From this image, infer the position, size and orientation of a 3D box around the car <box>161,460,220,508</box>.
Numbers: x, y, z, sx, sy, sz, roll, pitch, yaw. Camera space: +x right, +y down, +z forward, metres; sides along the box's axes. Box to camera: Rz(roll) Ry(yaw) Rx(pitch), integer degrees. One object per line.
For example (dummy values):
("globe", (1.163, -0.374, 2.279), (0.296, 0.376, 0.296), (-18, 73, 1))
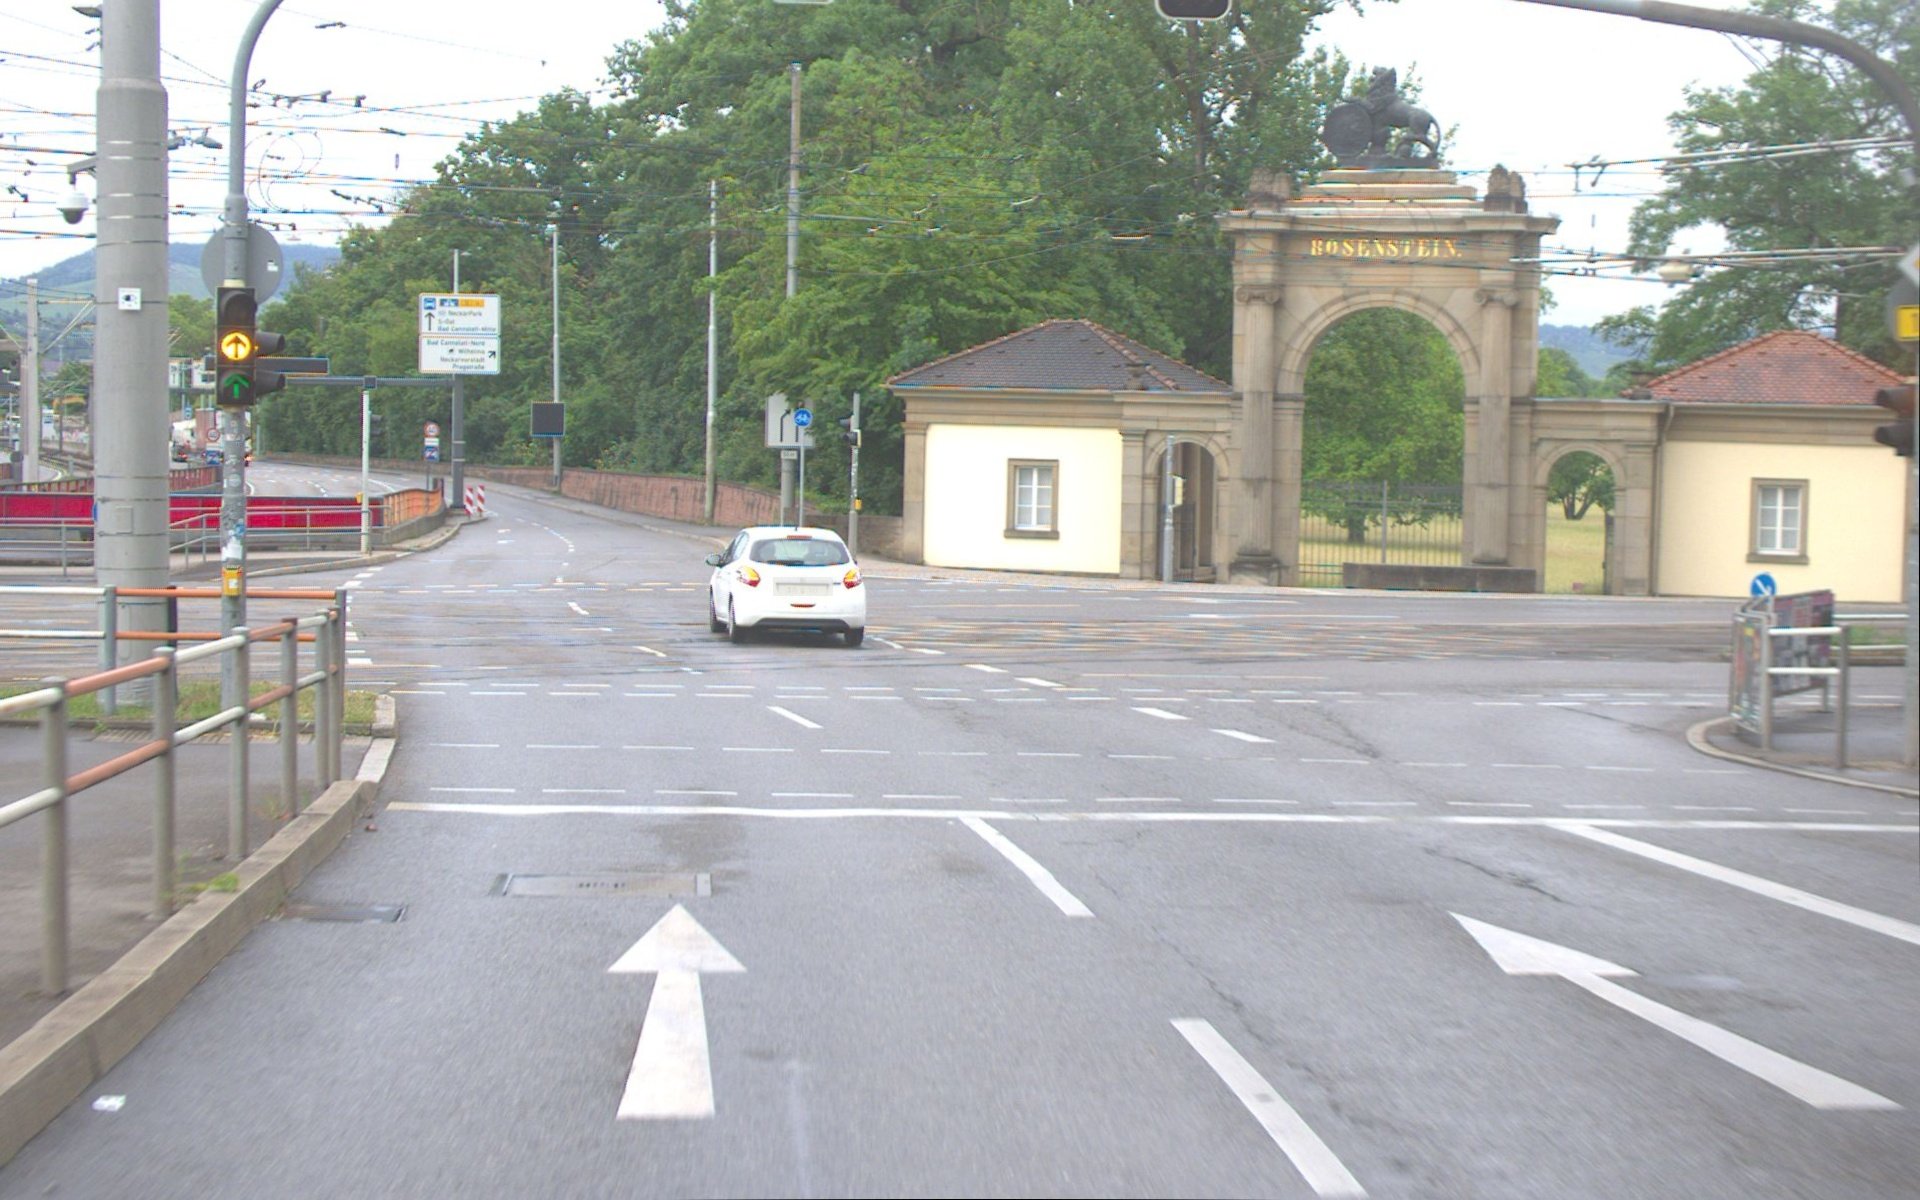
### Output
("car", (-30.558, -4.622, 136.448), (1.993, 1.866, 4.002), (-1, 2, -16))

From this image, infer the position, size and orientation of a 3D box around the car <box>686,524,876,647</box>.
("car", (-2.358, -0.159, 44.347), (1.955, 1.483, 4.001), (1, -1, -10))

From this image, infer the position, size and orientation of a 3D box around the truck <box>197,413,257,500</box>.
("truck", (-51.134, -9.908, 239.571), (3.463, 5.382, 12.055), (1, -1, -15))
